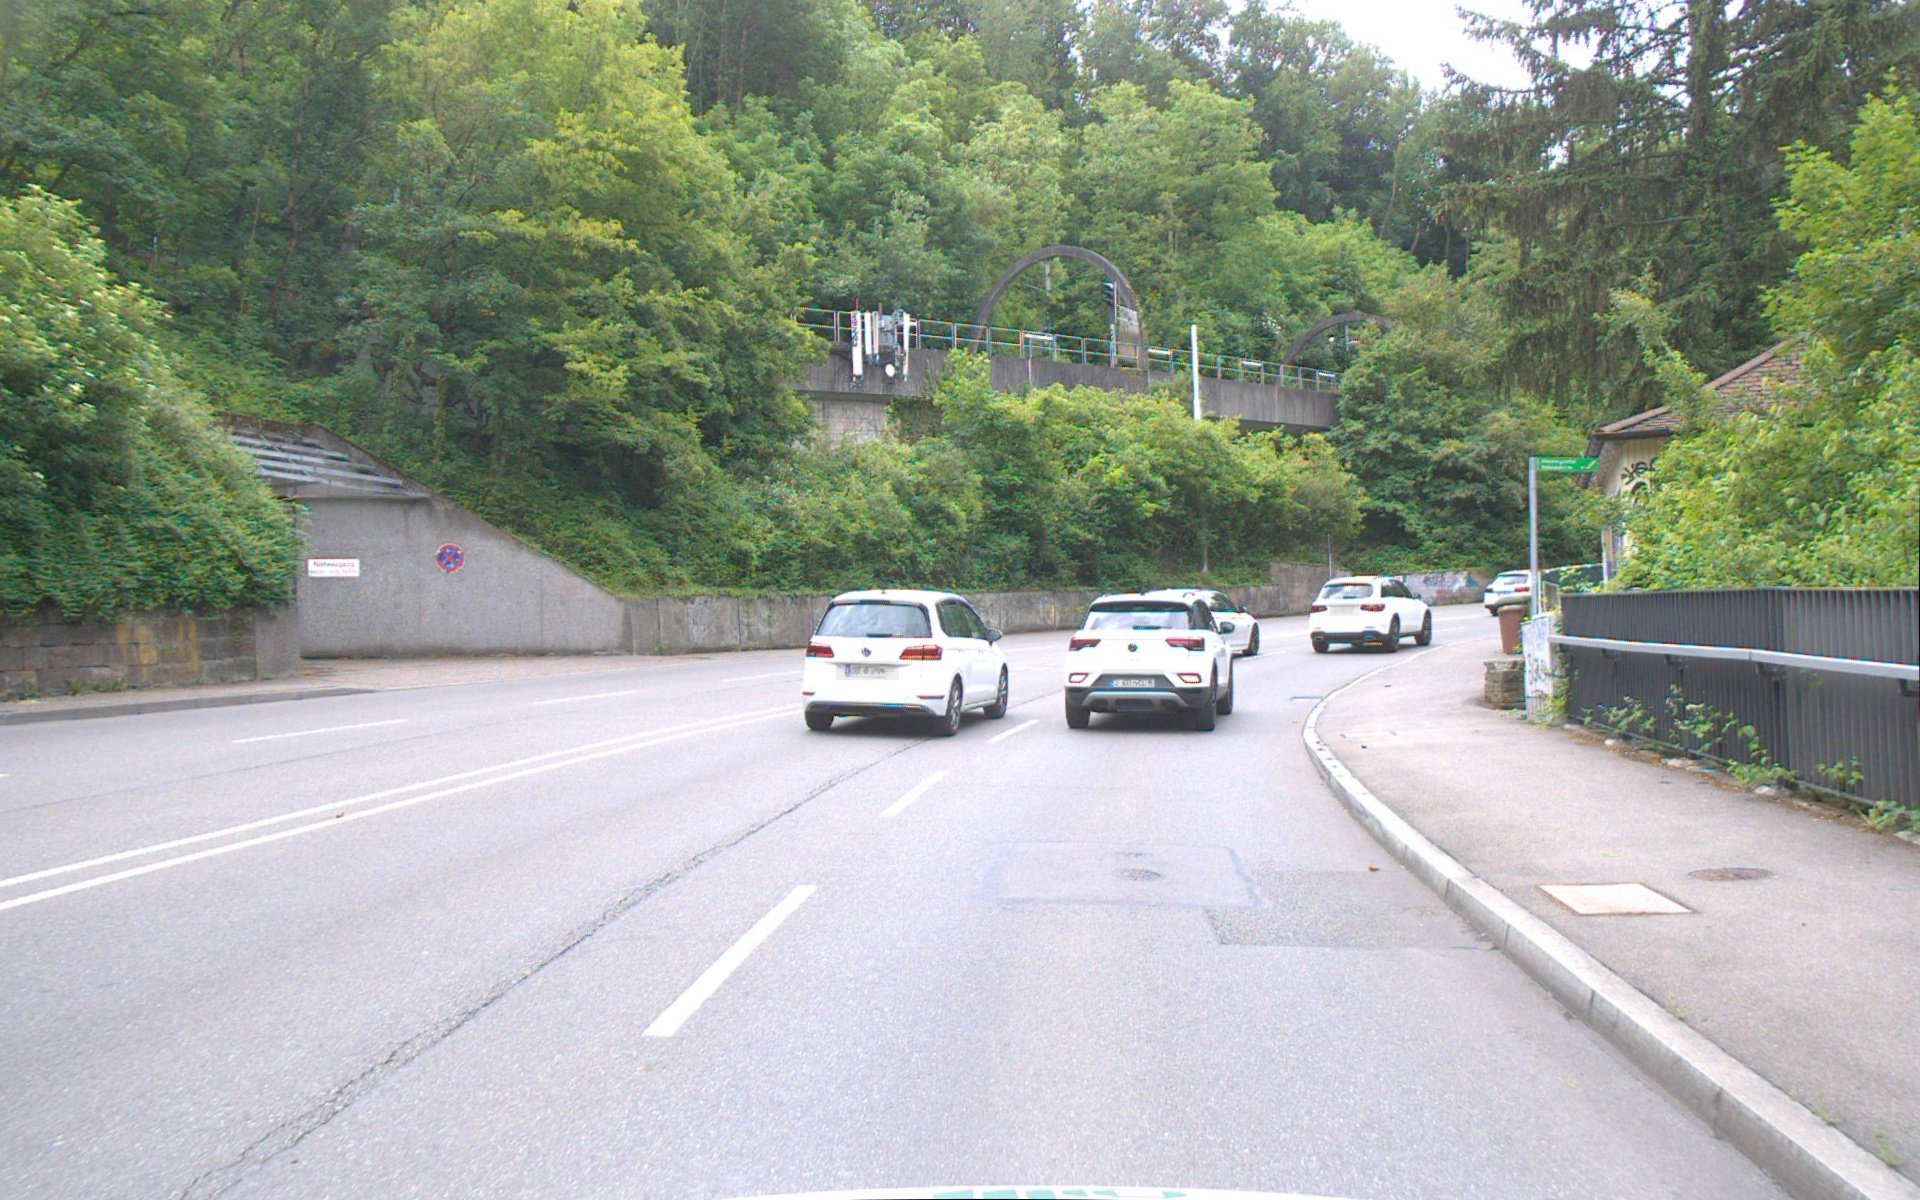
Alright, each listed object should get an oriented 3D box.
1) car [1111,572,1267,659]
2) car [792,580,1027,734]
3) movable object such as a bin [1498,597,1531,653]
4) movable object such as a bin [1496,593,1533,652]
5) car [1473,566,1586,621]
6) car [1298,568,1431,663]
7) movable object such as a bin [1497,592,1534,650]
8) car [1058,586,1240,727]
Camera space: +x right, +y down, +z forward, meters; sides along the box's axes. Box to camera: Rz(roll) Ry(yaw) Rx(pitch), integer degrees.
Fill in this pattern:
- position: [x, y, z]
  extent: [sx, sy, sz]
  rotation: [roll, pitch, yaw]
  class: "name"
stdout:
- position: [4.944, 0.262, 35.111]
  extent: [1.954, 1.584, 4.678]
  rotation: [3, 3, 25]
  class: "car"
- position: [-0.466, 0.675, 19.690]
  extent: [1.683, 1.582, 4.278]
  rotation: [1, -2, 13]
  class: "car"
- position: [10.694, 0.480, 31.891]
  extent: [0.489, 1.026, 0.440]
  rotation: [-5, 1, 21]
  class: "movable object such as a bin"
- position: [10.871, 0.437, 32.434]
  extent: [0.591, 1.078, 0.480]
  rotation: [-5, 1, 21]
  class: "movable object such as a bin"
- position: [19.143, -0.186, 55.535]
  extent: [4.271, 1.546, 1.720]
  rotation: [5, -4, -42]
  class: "car"
- position: [9.253, 0.390, 37.606]
  extent: [1.955, 1.876, 4.143]
  rotation: [1, -3, 28]
  class: "car"
- position: [11.075, 0.416, 32.973]
  extent: [0.591, 1.078, 0.480]
  rotation: [-5, 1, 21]
  class: "movable object such as a bin"
- position: [2.433, 0.690, 20.471]
  extent: [1.775, 1.566, 4.011]
  rotation: [0, -2, 13]
  class: "car"
